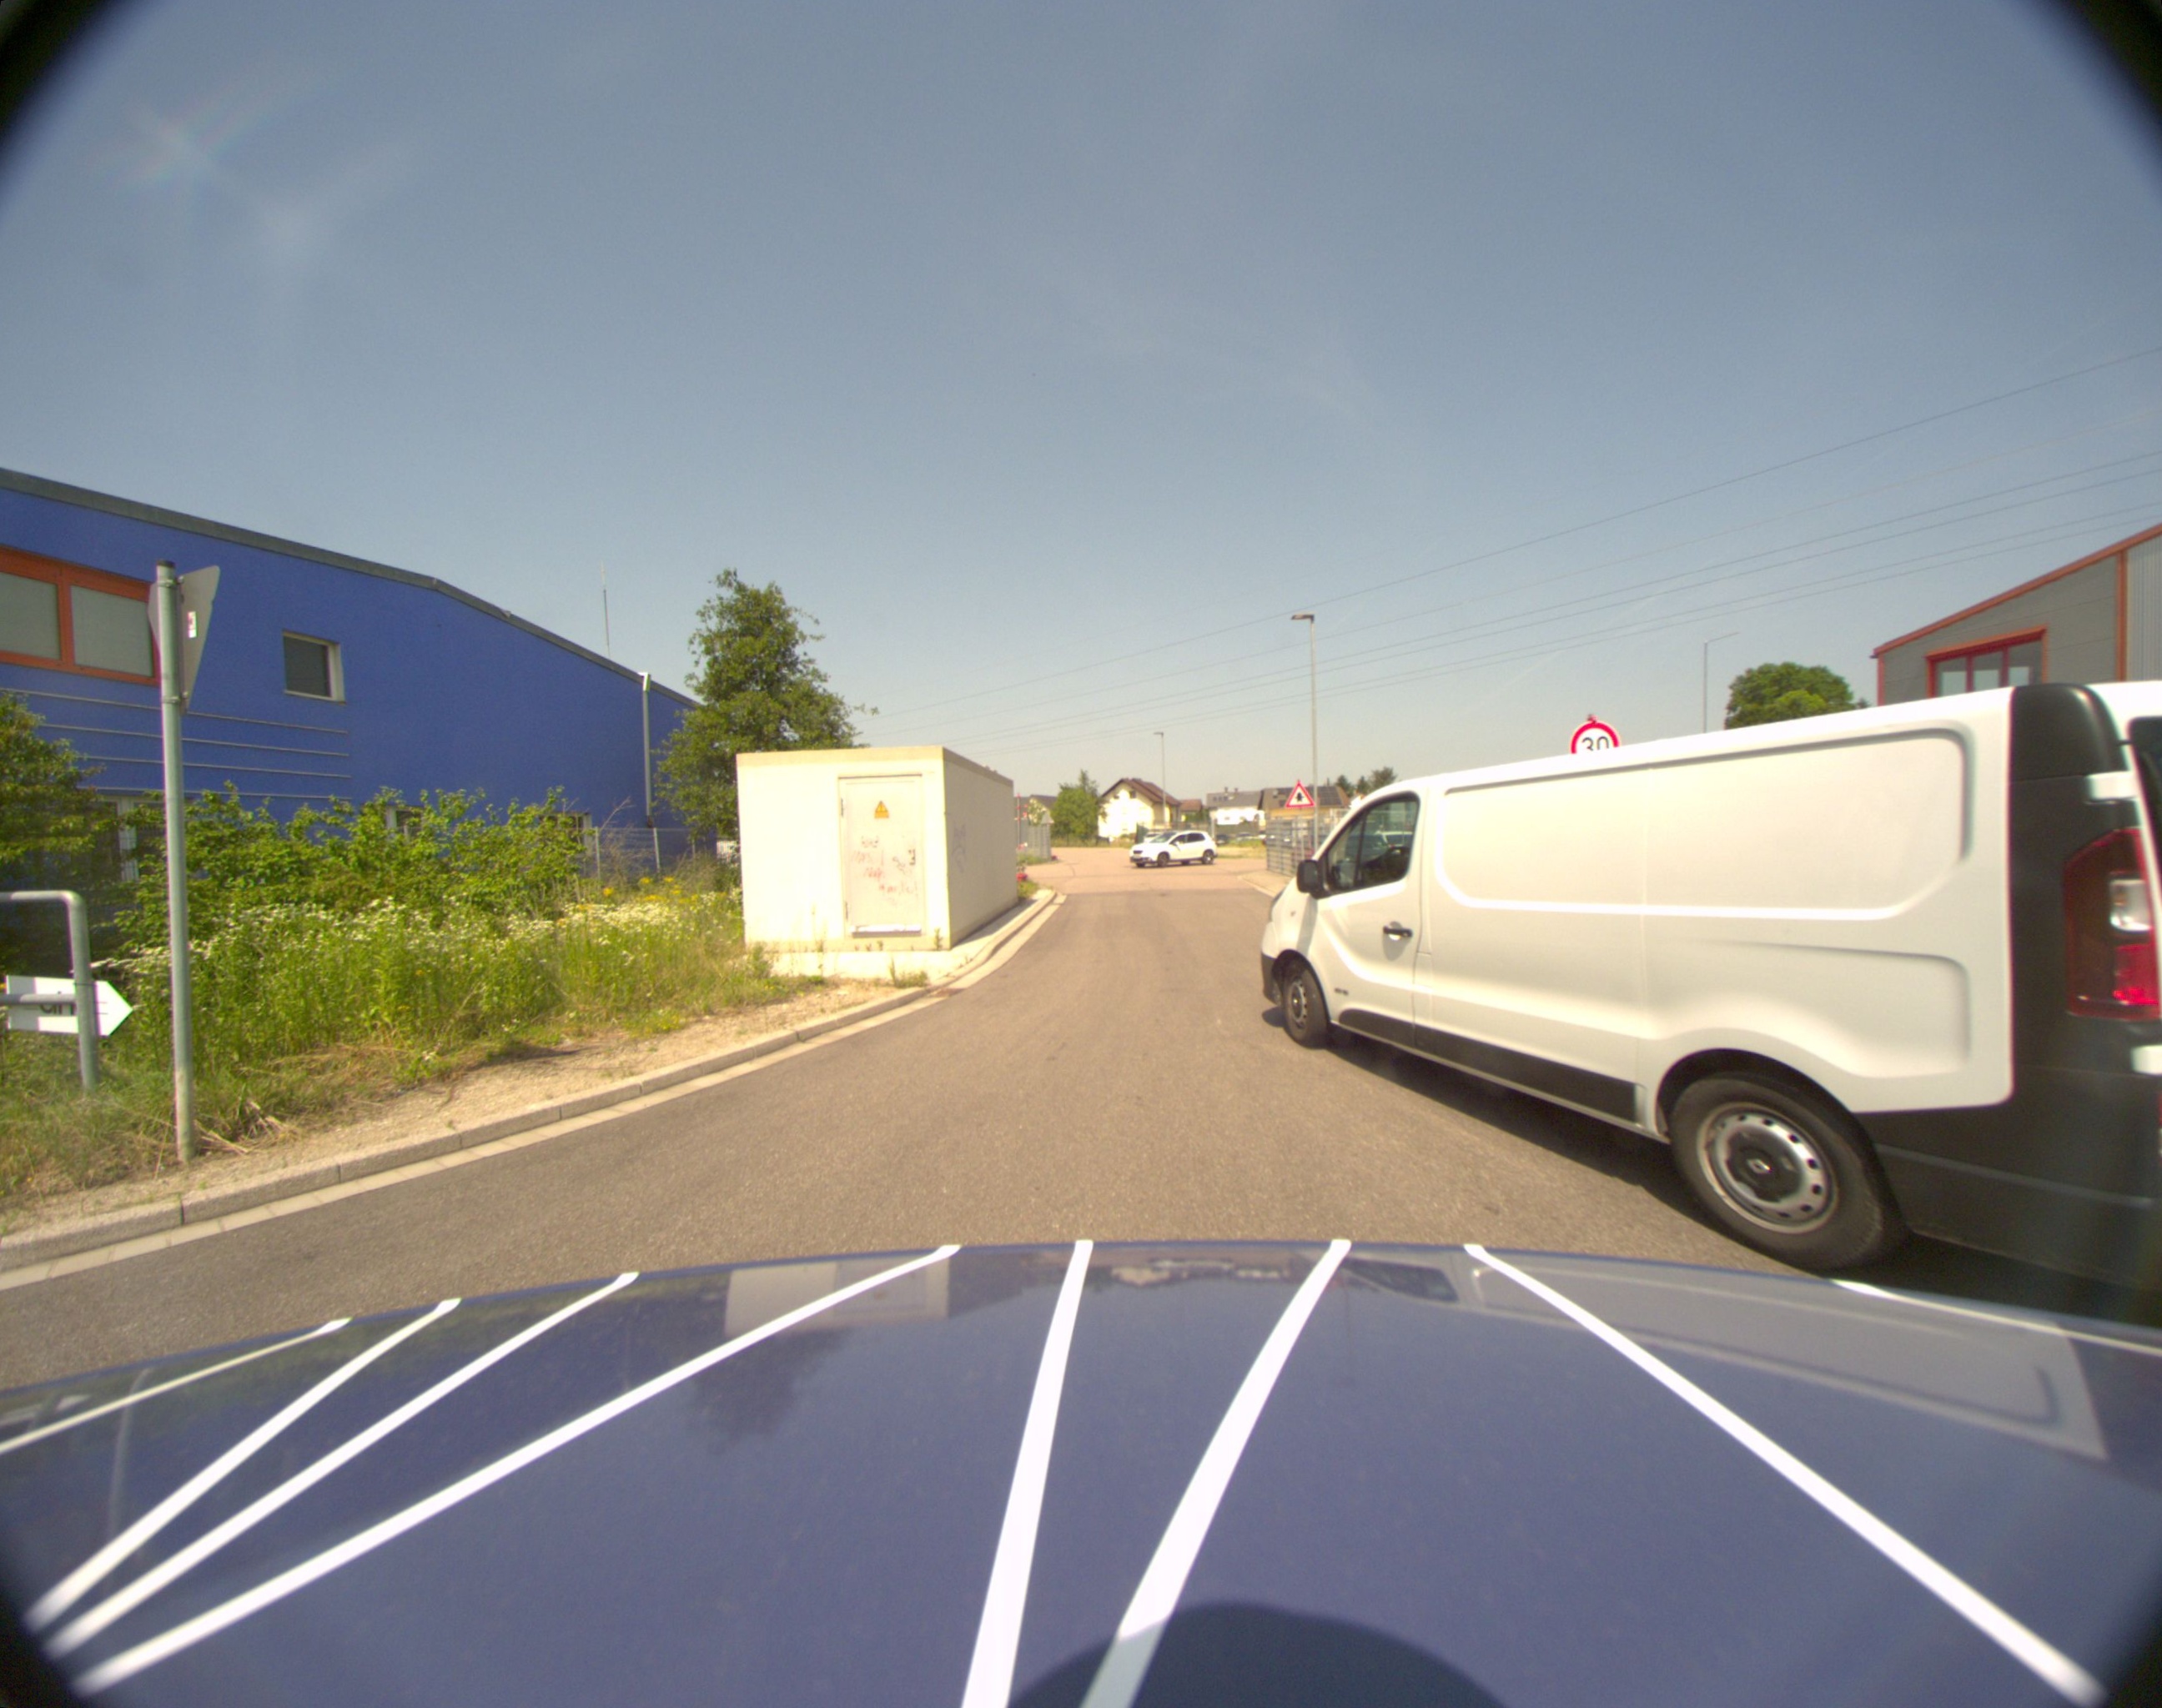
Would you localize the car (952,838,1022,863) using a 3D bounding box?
[{"bbox_3d":[-6.367,-0.240,51.407,4.576,1.419,1.998,-3,1,-8],"label":"car"}]

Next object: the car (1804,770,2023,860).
[{"bbox_3d":[23.118,-1.034,21.394,1.997,2.183,4.325,-2,1,12],"label":"car"}]

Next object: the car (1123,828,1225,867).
[{"bbox_3d":[4.099,-0.290,33.470,4.167,1.494,1.771,-3,1,-29],"label":"car"}]

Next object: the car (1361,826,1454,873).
[{"bbox_3d":[11.728,-0.197,27.588,1.773,1.494,4.000,-3,1,3],"label":"car"}]

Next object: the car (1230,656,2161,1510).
[{"bbox_3d":[2.899,0.546,4.251,2.010,2.048,4.806,-1,0,-17],"label":"car"}]

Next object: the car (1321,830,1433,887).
[{"bbox_3d":[8.779,0.085,22.898,1.774,1.494,3.999,-3,1,0],"label":"car"}]

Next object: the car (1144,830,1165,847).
[{"bbox_3d":[6.619,-1.405,68.395,1.773,1.494,4.162,-2,2,5],"label":"car"}]
